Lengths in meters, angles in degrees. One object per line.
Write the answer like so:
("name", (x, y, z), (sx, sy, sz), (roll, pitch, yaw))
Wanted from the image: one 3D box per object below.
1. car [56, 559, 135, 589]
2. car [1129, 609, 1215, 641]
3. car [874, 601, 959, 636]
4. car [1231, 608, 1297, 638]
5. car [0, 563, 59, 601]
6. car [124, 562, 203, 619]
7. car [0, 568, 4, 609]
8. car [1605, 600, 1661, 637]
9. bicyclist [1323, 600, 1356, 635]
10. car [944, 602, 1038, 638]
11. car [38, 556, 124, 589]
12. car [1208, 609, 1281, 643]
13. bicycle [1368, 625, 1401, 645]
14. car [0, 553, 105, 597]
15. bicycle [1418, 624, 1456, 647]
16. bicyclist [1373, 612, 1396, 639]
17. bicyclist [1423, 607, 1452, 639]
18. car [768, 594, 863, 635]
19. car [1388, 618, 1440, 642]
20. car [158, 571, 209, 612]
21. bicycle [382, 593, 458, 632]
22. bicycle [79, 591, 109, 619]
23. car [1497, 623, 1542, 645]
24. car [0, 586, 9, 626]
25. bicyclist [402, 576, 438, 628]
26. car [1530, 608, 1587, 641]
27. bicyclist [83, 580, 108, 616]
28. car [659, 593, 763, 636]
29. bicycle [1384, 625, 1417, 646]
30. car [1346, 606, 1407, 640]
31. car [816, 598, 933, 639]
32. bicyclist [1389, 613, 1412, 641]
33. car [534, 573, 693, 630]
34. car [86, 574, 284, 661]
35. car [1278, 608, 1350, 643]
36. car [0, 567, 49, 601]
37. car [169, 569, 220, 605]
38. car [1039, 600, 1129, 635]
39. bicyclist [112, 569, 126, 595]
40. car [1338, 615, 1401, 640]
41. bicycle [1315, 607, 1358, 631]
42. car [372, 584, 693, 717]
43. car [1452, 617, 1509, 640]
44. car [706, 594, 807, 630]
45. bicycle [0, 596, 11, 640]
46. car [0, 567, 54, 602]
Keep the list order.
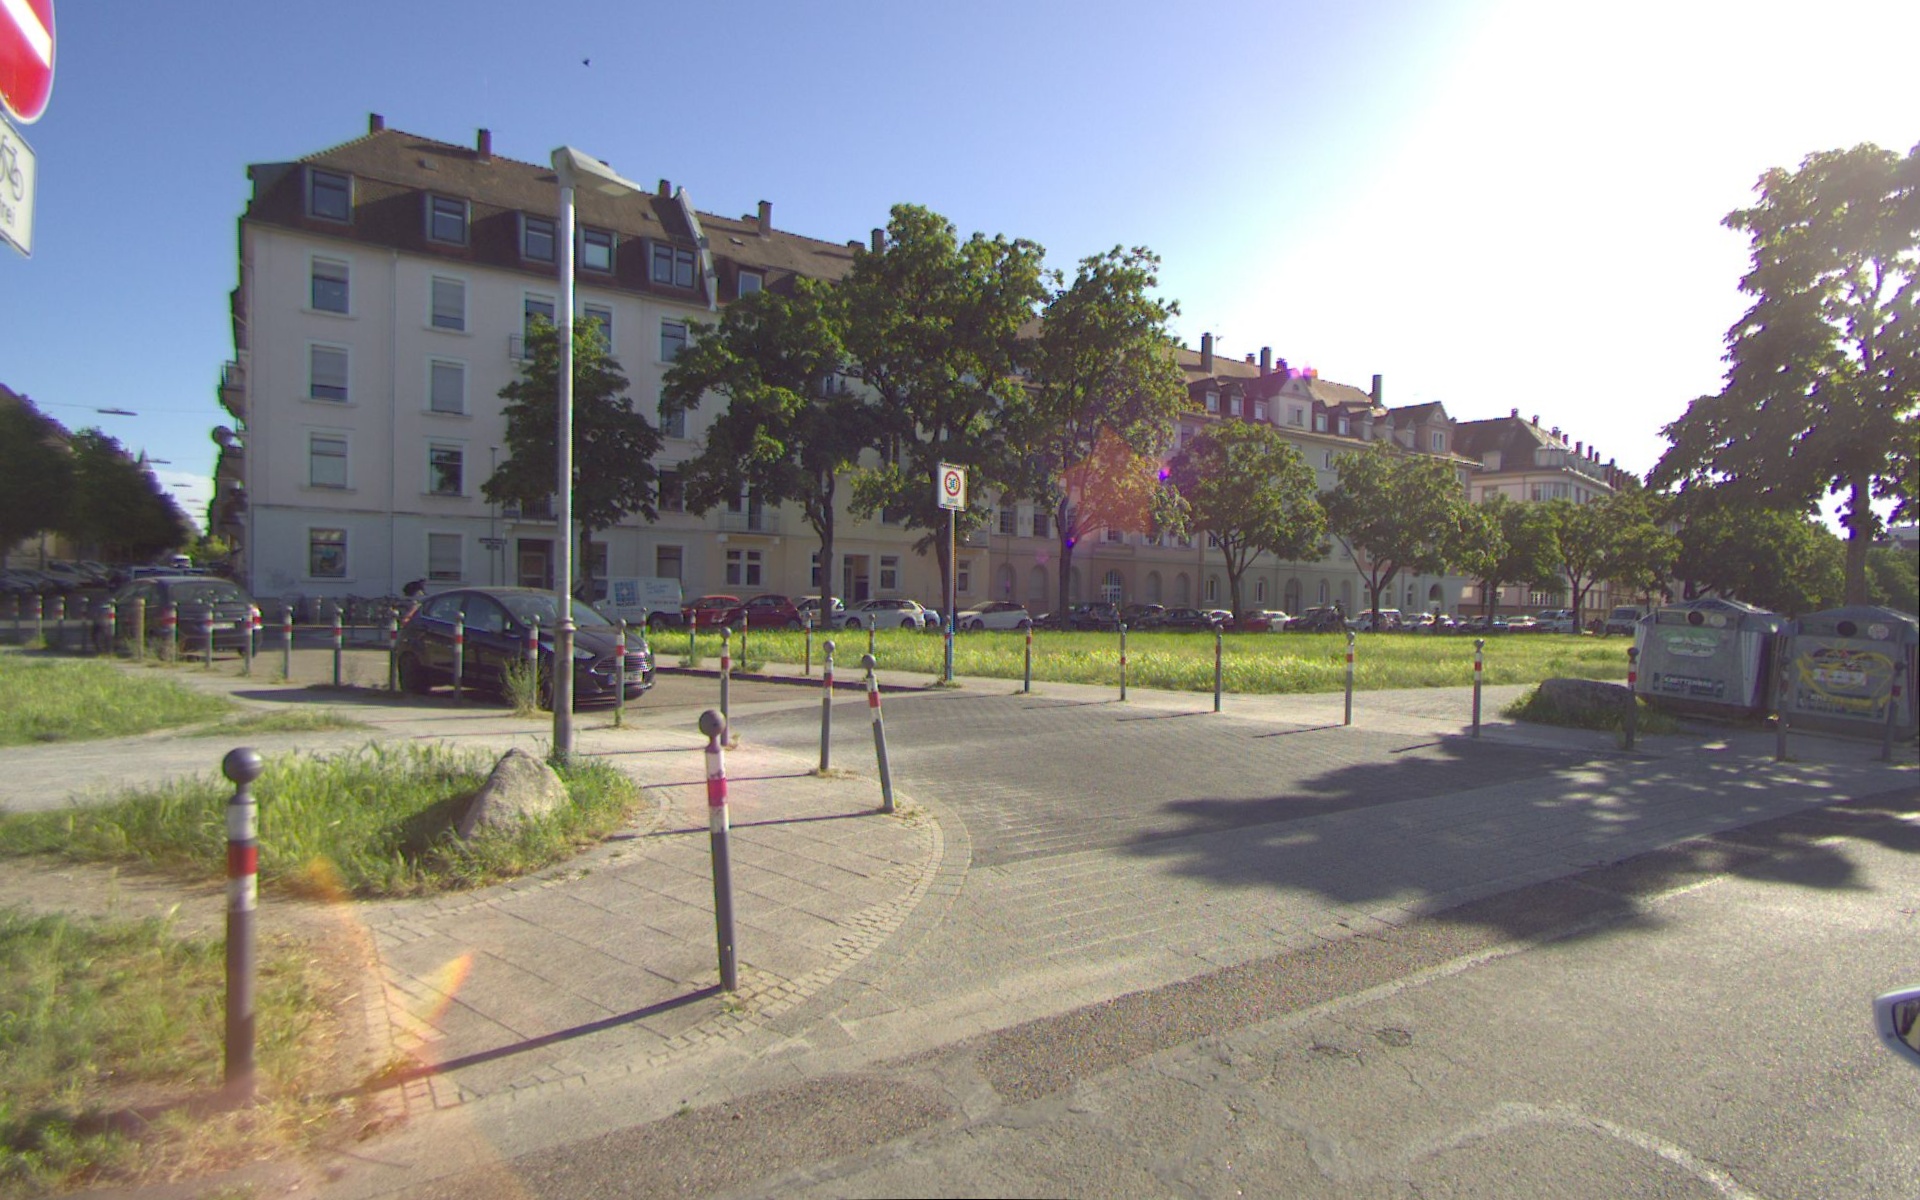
("car", (-73.641, -2.181, 85.630), (4.910, 2.427, 1.936), (1, 0, -37))
("car", (10.906, 1.288, 51.660), (4.483, 1.570, 1.744), (1, 0, -36))
("car", (-2.144, 0.901, 49.710), (3.821, 1.636, 1.873), (1, 0, -34))
("car", (19.411, 1.483, 64.178), (3.984, 1.775, 1.929), (1, 0, -34))
("car", (-48.224, -0.921, 50.877), (3.678, 1.859, 1.936), (1, 0, -37))
("car", (-30.670, -0.389, 38.792), (2.120, 2.040, 4.530), (1, 0, -35))
("car", (-42.118, -0.512, 41.029), (4.201, 1.724, 1.689), (1, 0, -36))
("car", (53.959, 1.491, 80.498), (5.570, 2.780, 1.902), (1, 0, -36))
("bicyclist", (20.411, 0.936, 54.050), (1.433, 1.862, 0.936), (2, -1, -32))
("car", (1.443, 0.905, 45.304), (4.041, 1.547, 1.682), (1, 0, -36))
("car", (-69.321, -2.158, 79.293), (4.910, 2.427, 1.936), (1, 0, -37))
("car", (15.502, 1.408, 54.668), (4.041, 1.709, 1.620), (1, 0, -36))
("bicycle", (23.306, 1.909, 55.162), (1.936, 1.093, 0.727), (1, 0, -35))
("car", (-57.369, -1.557, 63.470), (4.910, 2.553, 1.936), (1, 0, -37))
("bicycle", (27.985, 2.074, 58.933), (2.608, 1.269, 0.805), (1, 0, -35))
("bicyclist", (23.334, 1.401, 55.154), (0.932, 1.457, 0.733), (0, 2, -33))
("bicyclist", (28.012, 1.357, 58.915), (1.435, 1.862, 0.935), (2, -1, -34))
("car", (-6.692, 0.689, 46.766), (3.958, 1.781, 1.851), (1, 0, -34))
("car", (28.681, 1.889, 63.466), (3.304, 1.459, 1.373), (1, 0, -32))
("car", (-39.694, -0.449, 51.428), (1.982, 2.000, 4.999), (1, 1, -37))
("bicycle", (-18.132, 0.421, 33.774), (0.703, 1.275, 2.147), (2, 0, 36))
("bicycle", (-33.711, 0.179, 39.118), (0.652, 1.030, 1.963), (1, 1, -34))
("car", (39.133, 2.376, 70.188), (3.200, 1.459, 1.507), (1, 0, -36))
("car", (-38.238, 0.190, 37.564), (3.630, 1.541, 1.697), (1, 0, -34))
("bicyclist", (-18.146, 0.070, 33.740), (0.621, 1.713, 0.876), (1, 0, 36))
("car", (43.812, 1.807, 73.478), (4.959, 2.243, 1.682), (2, 0, -36))
("bicyclist", (-33.686, -0.075, 39.129), (0.617, 1.382, 0.869), (1, 1, -34))
("car", (-10.902, 0.635, 44.030), (4.010, 1.775, 1.982), (1, 0, -32))
("bicycle", (23.802, 1.907, 54.225), (1.936, 1.093, 0.727), (1, 0, -35))
("car", (29.297, 1.602, 70.618), (4.419, 2.289, 1.764), (1, 0, -35))
("car", (-3.531, 0.783, 41.944), (4.652, 1.582, 1.682), (1, 0, -36))
("bicyclist", (23.765, 1.465, 54.230), (0.932, 1.456, 0.733), (2, -1, -33))
("car", (-12.500, 0.077, 36.376), (5.048, 1.897, 2.067), (1, 0, -36))
("car", (-15.805, 0.297, 20.440), (4.274, 1.597, 1.924), (1, 0, 34))
("car", (20.467, 1.464, 58.006), (4.417, 1.933, 1.724), (1, 0, -36))
("car", (-45.103, -0.756, 46.890), (3.582, 1.541, 1.841), (1, 0, -37))
("car", (-44.692, -0.772, 58.744), (2.133, 2.010, 4.860), (1, 0, -35))
("car", (5.952, 0.857, 48.068), (4.312, 1.570, 1.620), (1, 0, -36))
("bicyclist", (-45.814, -0.980, 54.725), (0.528, 1.382, 0.777), (1, 1, -36))
("car", (24.824, 1.652, 60.896), (3.732, 1.448, 1.685), (1, 0, -32))
("bicycle", (20.239, 1.011, 53.976), (2.607, 1.269, 0.805), (1, 0, -35))
("car", (-5.751, 0.549, 13.386), (4.274, 1.428, 1.915), (2, 2, 34))
("car", (35.233, 1.943, 68.013), (3.733, 1.459, 1.835), (1, 0, -33))
("car", (-7.885, 0.470, 39.016), (3.491, 1.296, 1.682), (1, 0, -36))
("bicycle", (-29.275, 0.511, 29.262), (2.234, 1.279, 0.836), (1, 1, -34))
("car", (-46.768, -0.765, 49.006), (3.582, 1.662, 1.813), (1, 0, -37))
